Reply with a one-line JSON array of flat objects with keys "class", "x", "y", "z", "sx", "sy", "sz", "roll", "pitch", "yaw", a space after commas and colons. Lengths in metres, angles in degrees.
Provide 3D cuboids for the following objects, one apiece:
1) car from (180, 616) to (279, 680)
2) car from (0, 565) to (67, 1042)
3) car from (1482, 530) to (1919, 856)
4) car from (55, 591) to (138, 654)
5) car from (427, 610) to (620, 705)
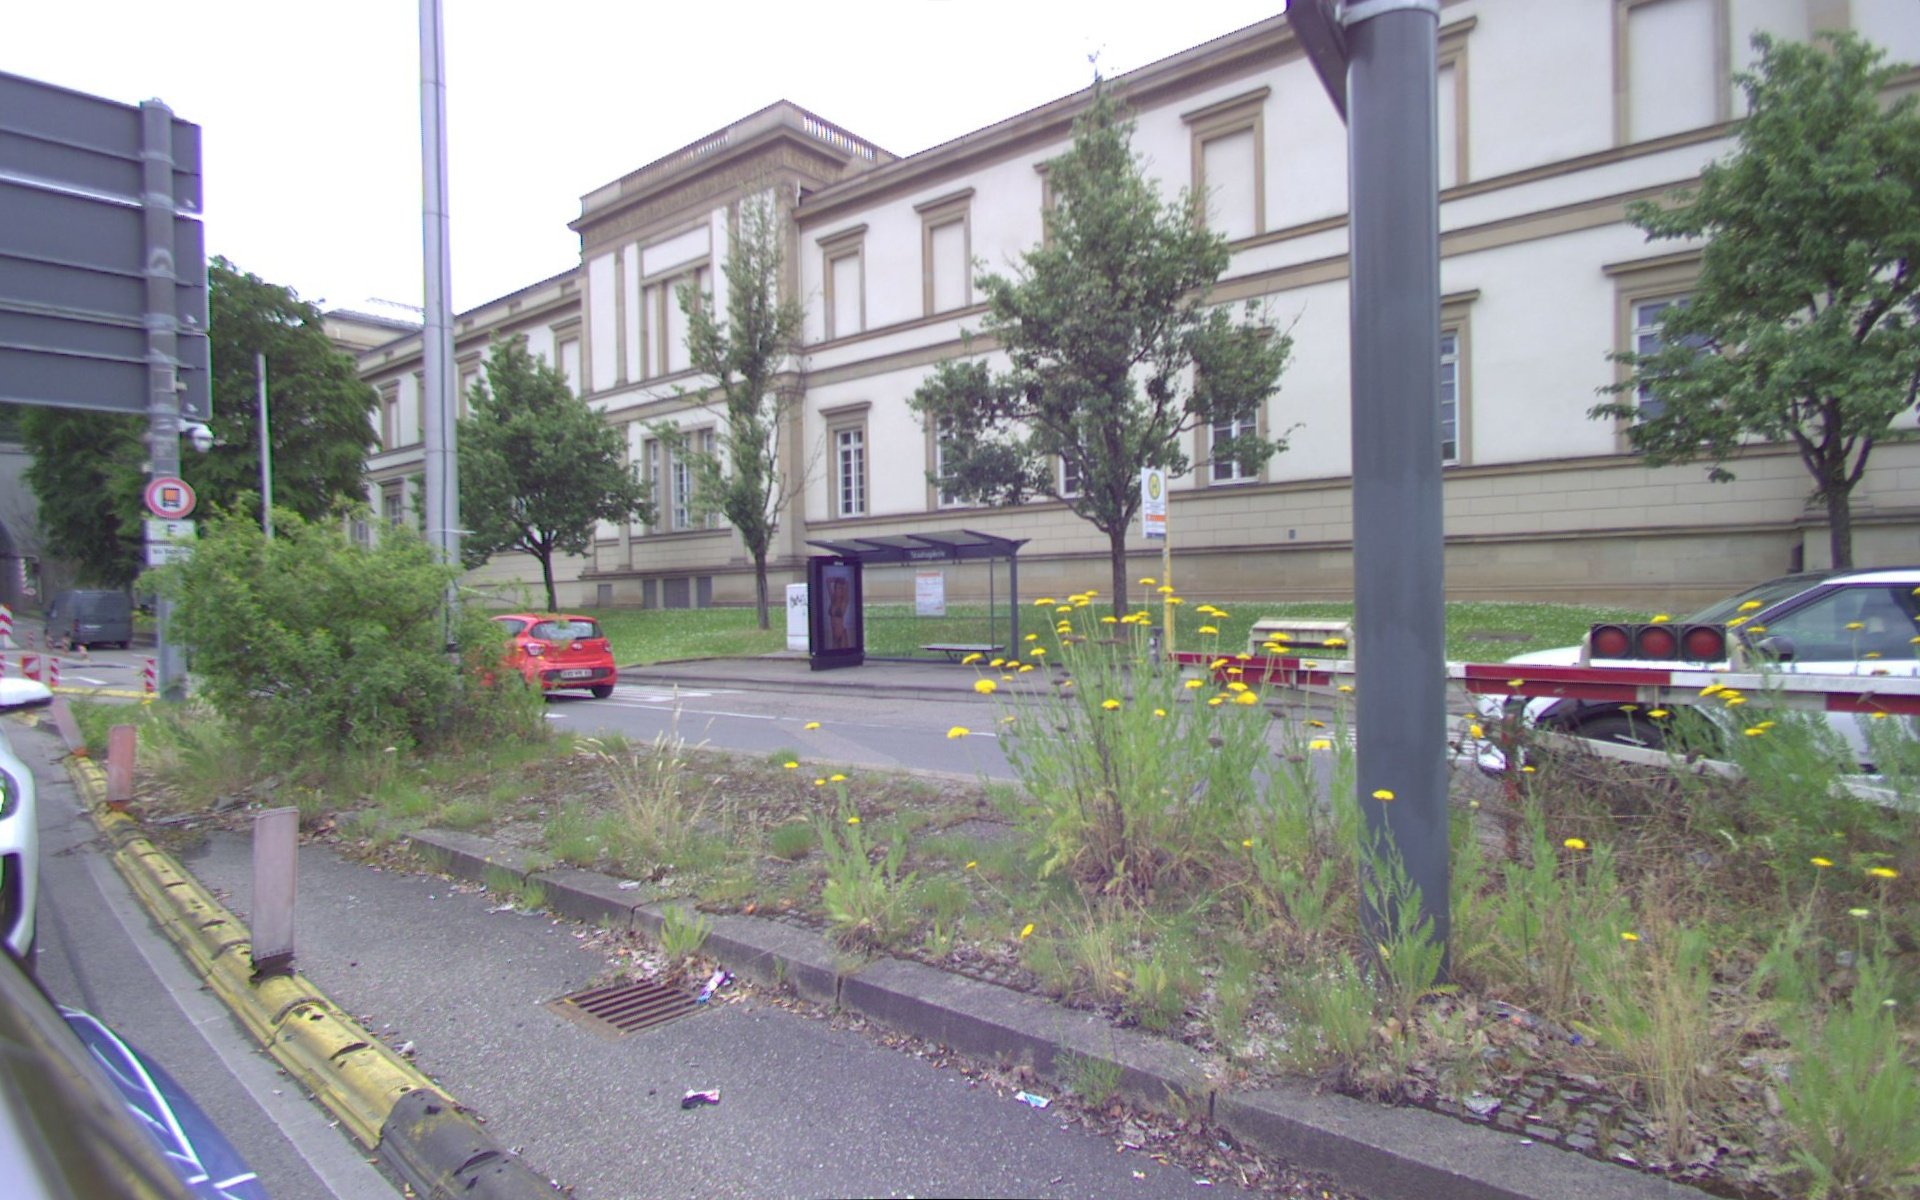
[{"class": "car", "x": -20.835, "y": 1.307, "z": 28.823, "sx": 1.753, "sy": 1.630, "sz": 3.806, "roll": -1, "pitch": 0, "yaw": -44}, {"class": "car", "x": -5.201, "y": 0.722, "z": 4.070, "sx": 3.668, "sy": 1.637, "sz": 1.962, "roll": -1, "pitch": 0, "yaw": 41}, {"class": "car", "x": 5.548, "y": 0.477, "z": 6.044, "sx": 4.246, "sy": 1.704, "sz": 1.859, "roll": -1, "pitch": 0, "yaw": 27}, {"class": "car", "x": -37.112, "y": 0.929, "z": 43.433, "sx": 4.758, "sy": 2.527, "sz": 2.174, "roll": -1, "pitch": 0, "yaw": 43}, {"class": "car", "x": -7.690, "y": 0.949, "z": 17.738, "sx": 3.570, "sy": 1.489, "sz": 1.626, "roll": -1, "pitch": -1, "yaw": 39}]
